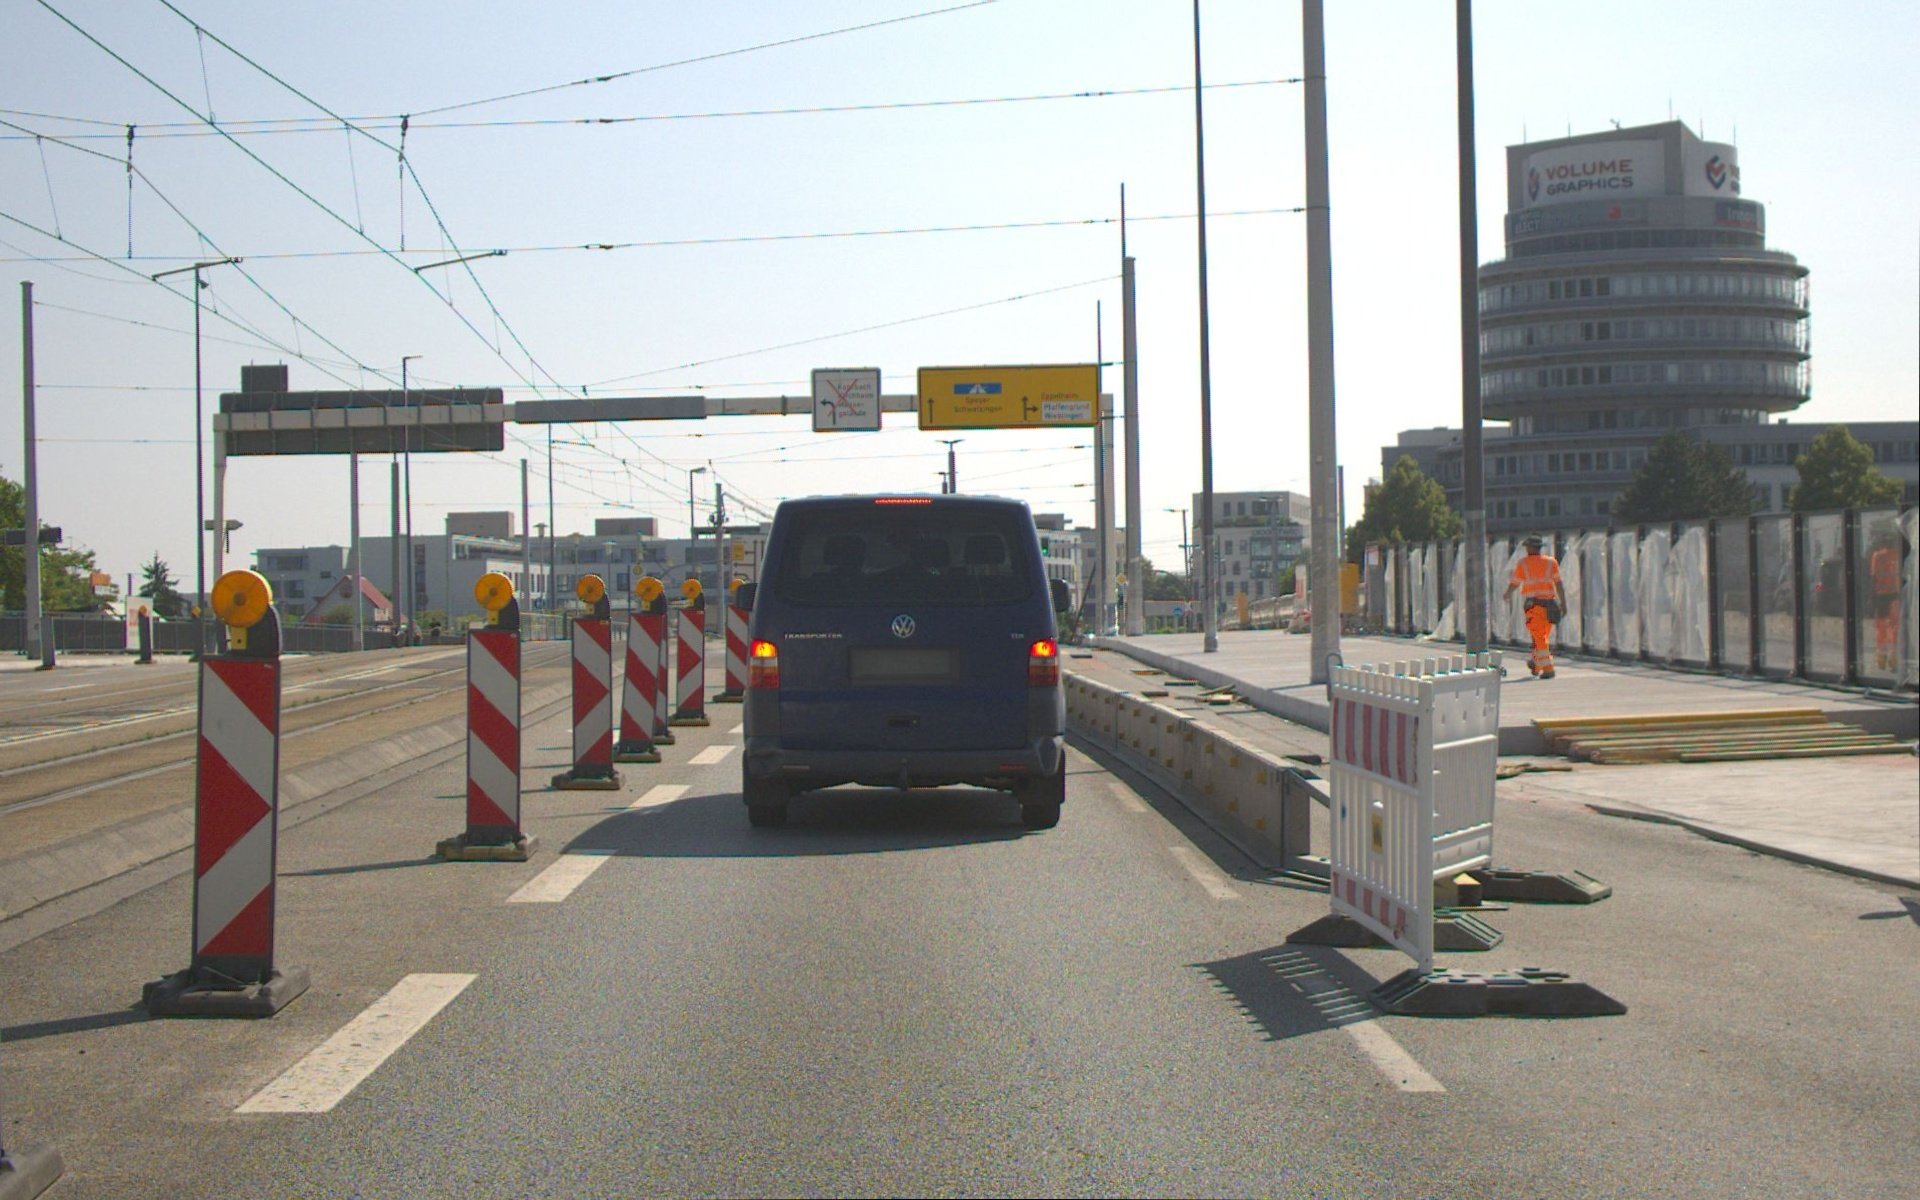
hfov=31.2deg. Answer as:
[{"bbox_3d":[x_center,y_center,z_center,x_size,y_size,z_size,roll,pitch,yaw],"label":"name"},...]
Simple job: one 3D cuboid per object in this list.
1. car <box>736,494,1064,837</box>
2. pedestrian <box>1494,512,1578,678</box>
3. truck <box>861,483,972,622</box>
[{"bbox_3d":[-0.331,0.335,21.302,1.815,1.899,4.054,-1,1,0],"label":"car"},{"bbox_3d":[6.850,-0.058,40.929,0.782,1.928,0.799,-2,0,-1],"label":"pedestrian"},{"bbox_3d":[-1.058,-1.198,83.984,2.460,3.124,11.216,-1,1,-1],"label":"truck"}]
